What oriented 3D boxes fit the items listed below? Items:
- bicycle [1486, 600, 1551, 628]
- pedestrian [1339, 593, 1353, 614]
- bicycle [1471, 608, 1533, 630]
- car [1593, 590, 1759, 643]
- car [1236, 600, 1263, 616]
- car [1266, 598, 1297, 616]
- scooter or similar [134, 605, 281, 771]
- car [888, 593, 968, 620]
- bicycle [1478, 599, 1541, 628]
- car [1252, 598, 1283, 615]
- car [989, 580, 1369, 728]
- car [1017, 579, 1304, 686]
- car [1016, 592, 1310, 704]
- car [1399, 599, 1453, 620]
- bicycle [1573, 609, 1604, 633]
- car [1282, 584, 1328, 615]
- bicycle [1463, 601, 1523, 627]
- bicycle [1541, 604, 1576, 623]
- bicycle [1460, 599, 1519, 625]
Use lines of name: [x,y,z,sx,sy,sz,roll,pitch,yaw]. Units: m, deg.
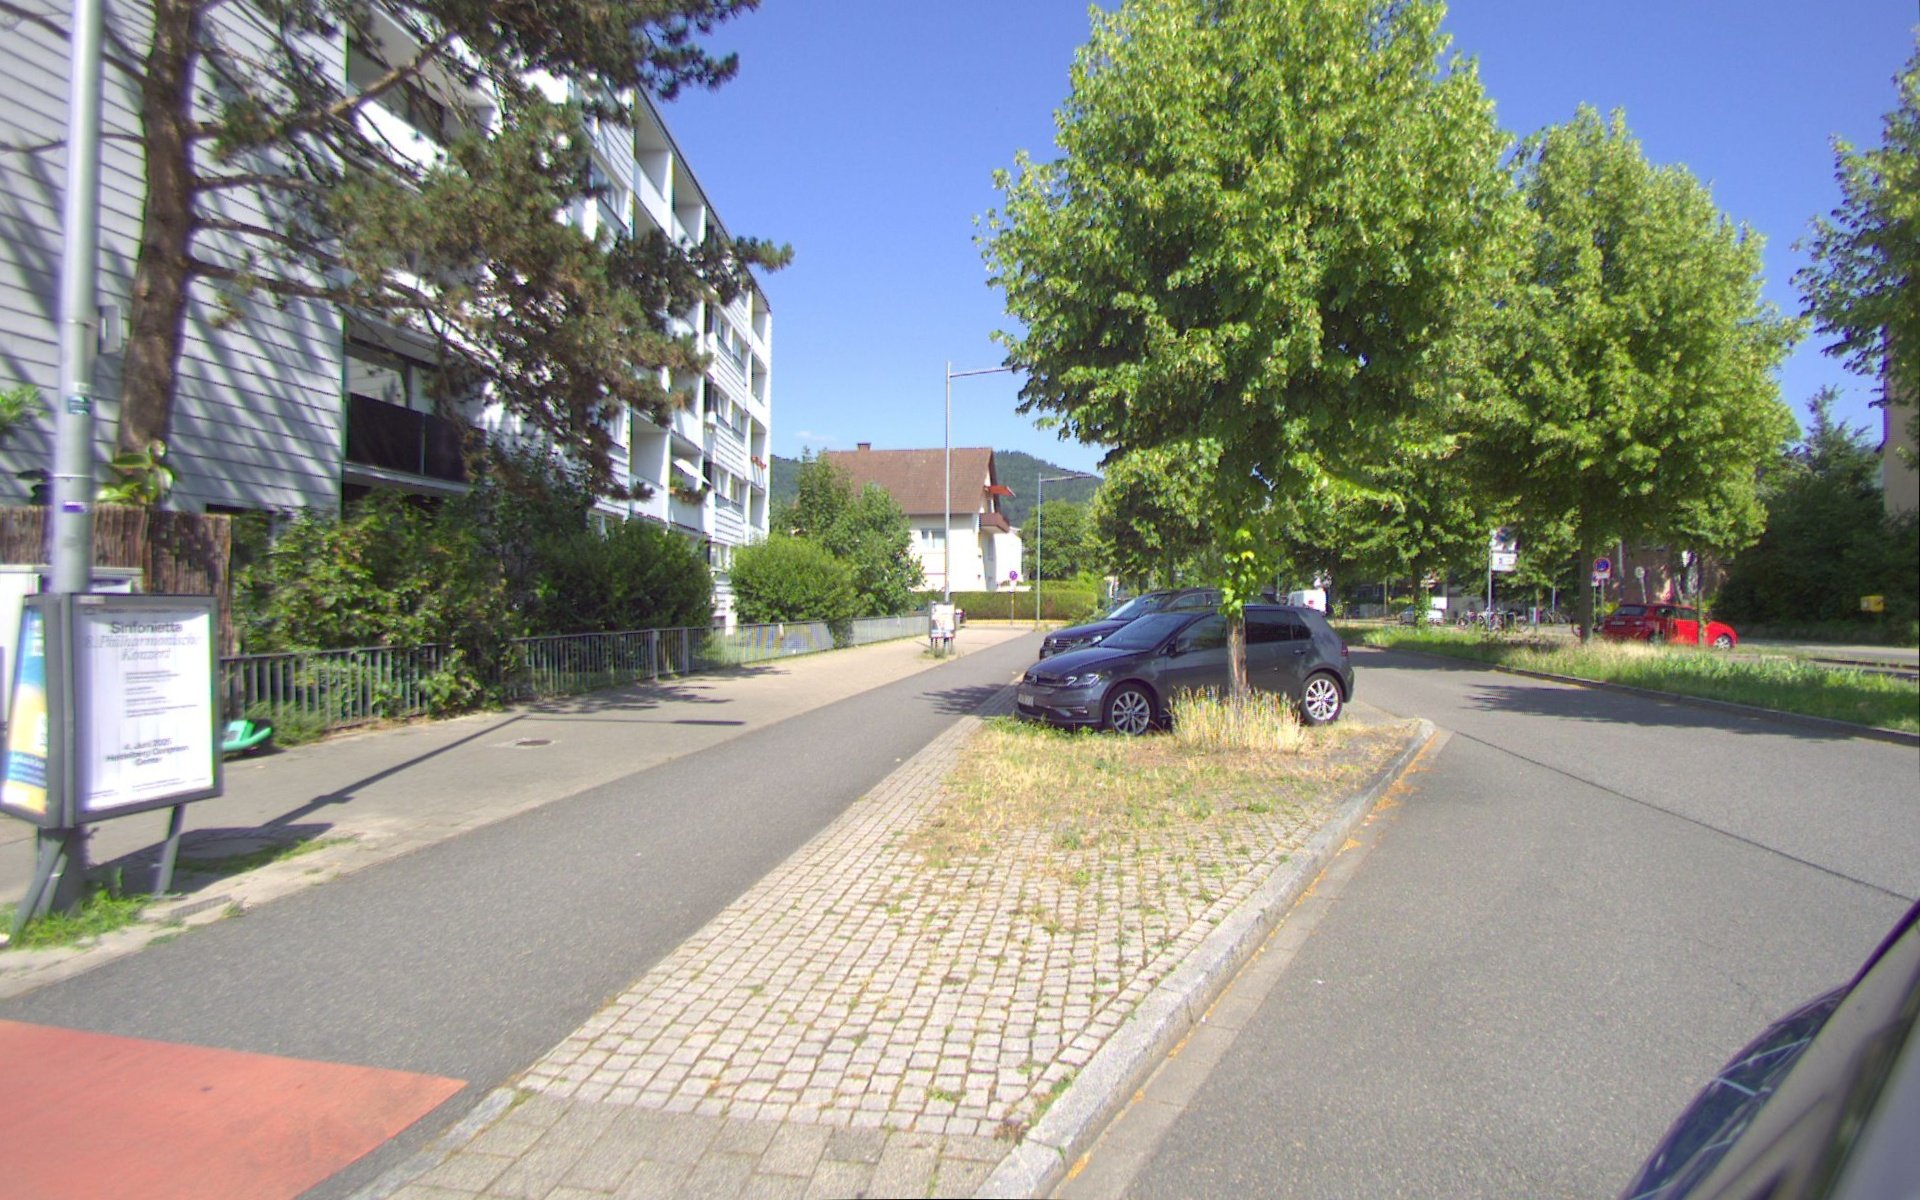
bicycle: [25.810,0.650,46.825,2.509,1.272,0.738,0,-1,8]
pedestrian: [33.544,0.339,87.894,0.960,1.802,0.724,0,-1,6]
bicycle: [26.249,0.910,49.030,2.509,1.000,0.738,1,-1,8]
car: [22.078,0.509,31.267,3.917,1.485,2.003,1,-1,-11]
car: [30.075,0.852,105.102,1.694,1.579,3.998,1,-1,1]
car: [29.768,0.645,93.839,1.694,1.579,3.998,1,-1,1]
scooter or similar: [-5.718,0.630,7.730,0.228,1.181,0.952,-1,-1,16]
car: [-1.735,0.365,55.609,4.063,1.416,1.804,0,-3,10]
bicycle: [26.001,0.638,47.920,2.480,1.272,0.738,1,-1,8]
car: [29.918,0.613,98.715,1.694,1.579,4.669,1,-1,1]
car: [2.604,0.558,12.252,4.031,1.549,2.004,0,0,-20]
car: [3.479,0.509,17.558,4.646,1.681,1.756,0,0,-21]
car: [2.978,0.637,14.999,3.916,1.492,1.772,0,0,-20]
car: [30.338,0.642,65.991,1.694,1.283,3.998,1,-1,1]
bicycle: [24.990,0.818,40.238,0.513,0.914,1.269,1,0,4]
car: [29.911,-0.034,87.913,2.056,2.528,5.949,1,-1,1]
bicycle: [26.491,0.689,50.330,2.509,1.255,0.738,1,-1,8]
bicycle: [34.384,0.786,58.136,0.371,1.095,1.714,1,-1,-39]
bicycle: [26.748,0.608,51.173,2.509,1.272,0.738,1,-1,8]
